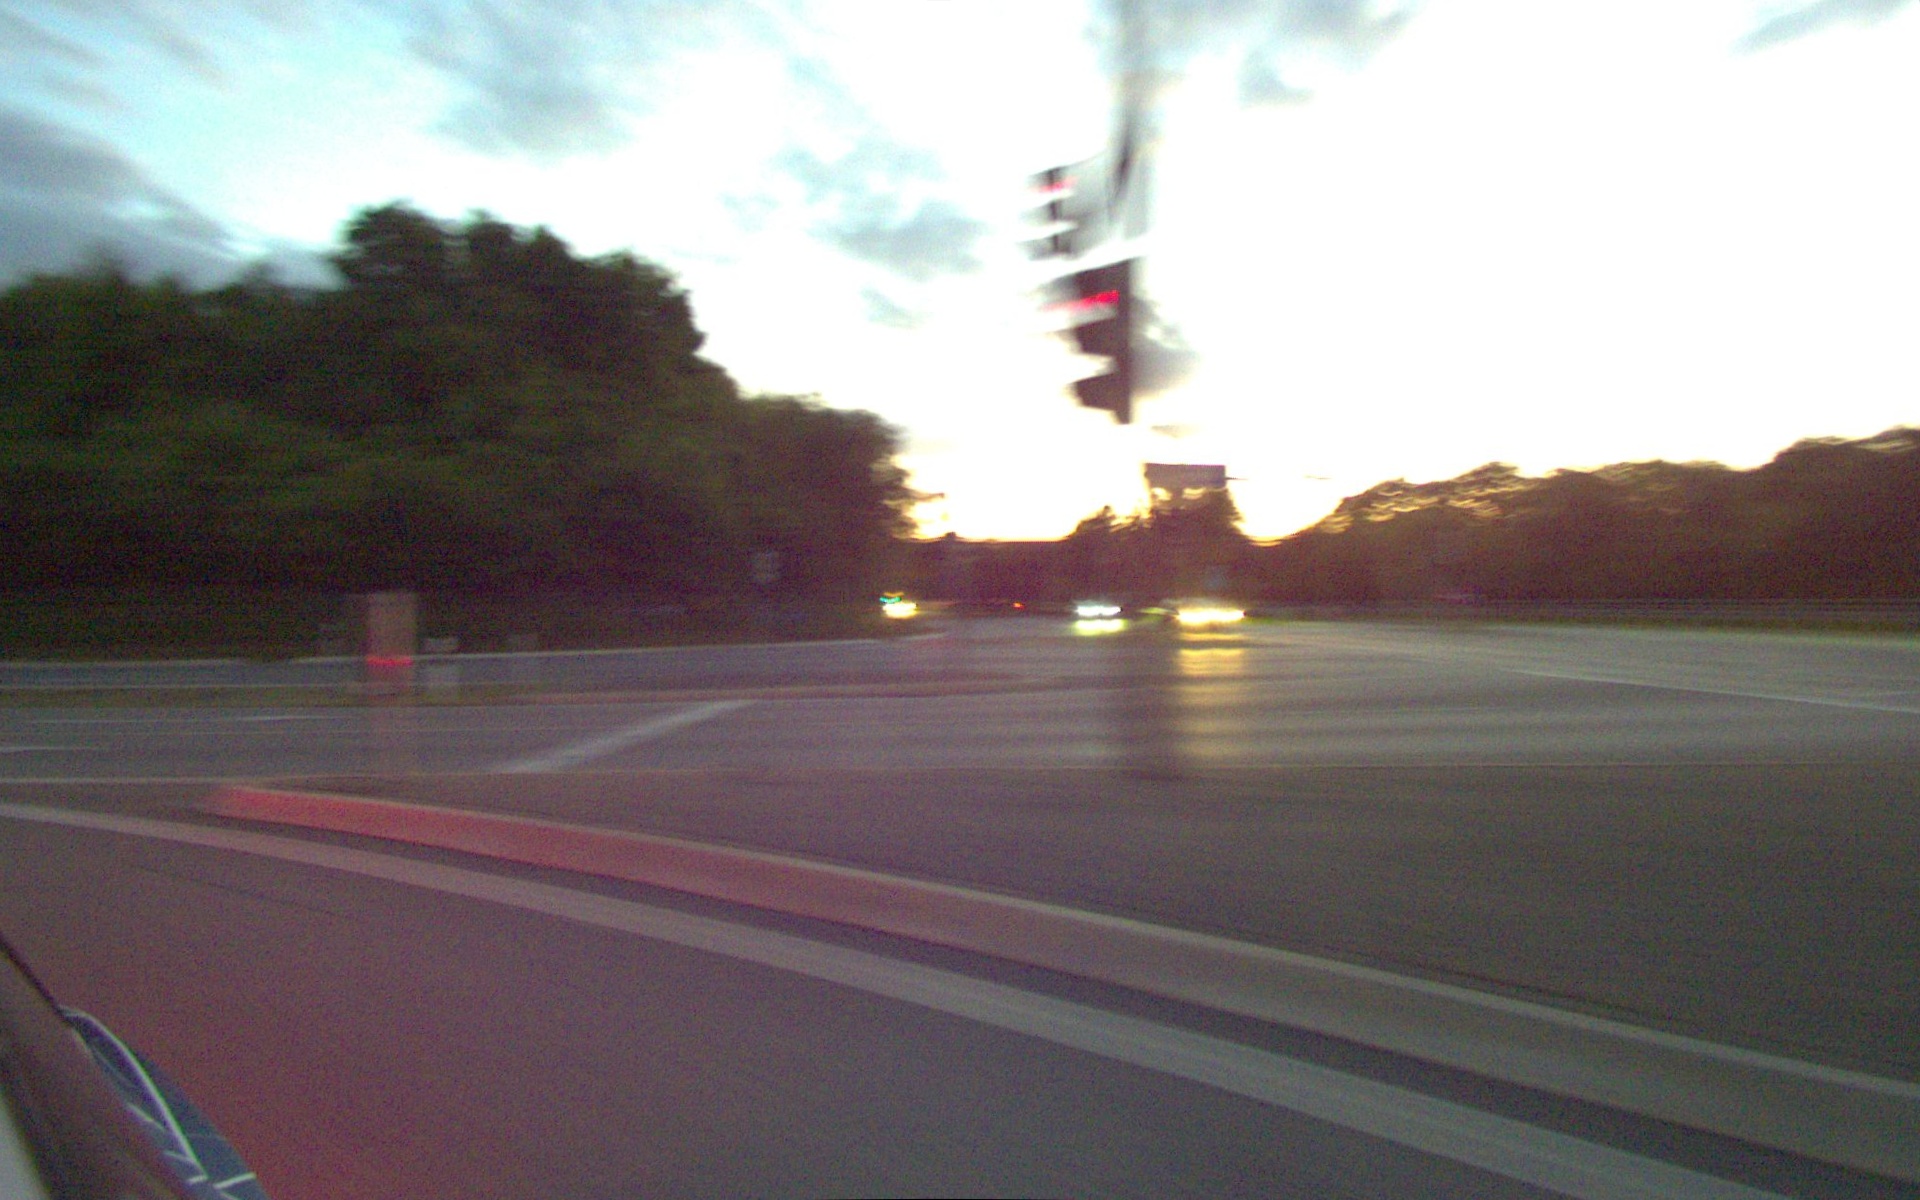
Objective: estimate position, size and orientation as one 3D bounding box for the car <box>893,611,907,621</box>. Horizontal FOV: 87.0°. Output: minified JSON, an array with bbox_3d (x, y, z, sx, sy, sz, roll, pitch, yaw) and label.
[{"bbox_3d":[-9.523,2.491,159.942,2.030,1.608,4.001,-1,-1,-1],"label":"car"}]

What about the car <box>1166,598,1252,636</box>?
[{"bbox_3d":[10.076,0.690,41.231,1.968,1.464,4.008,1,-1,-9],"label":"car"}]

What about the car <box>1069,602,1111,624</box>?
[{"bbox_3d":[9.312,0.899,73.013,1.969,1.464,4.740,-1,0,-6],"label":"car"}]
